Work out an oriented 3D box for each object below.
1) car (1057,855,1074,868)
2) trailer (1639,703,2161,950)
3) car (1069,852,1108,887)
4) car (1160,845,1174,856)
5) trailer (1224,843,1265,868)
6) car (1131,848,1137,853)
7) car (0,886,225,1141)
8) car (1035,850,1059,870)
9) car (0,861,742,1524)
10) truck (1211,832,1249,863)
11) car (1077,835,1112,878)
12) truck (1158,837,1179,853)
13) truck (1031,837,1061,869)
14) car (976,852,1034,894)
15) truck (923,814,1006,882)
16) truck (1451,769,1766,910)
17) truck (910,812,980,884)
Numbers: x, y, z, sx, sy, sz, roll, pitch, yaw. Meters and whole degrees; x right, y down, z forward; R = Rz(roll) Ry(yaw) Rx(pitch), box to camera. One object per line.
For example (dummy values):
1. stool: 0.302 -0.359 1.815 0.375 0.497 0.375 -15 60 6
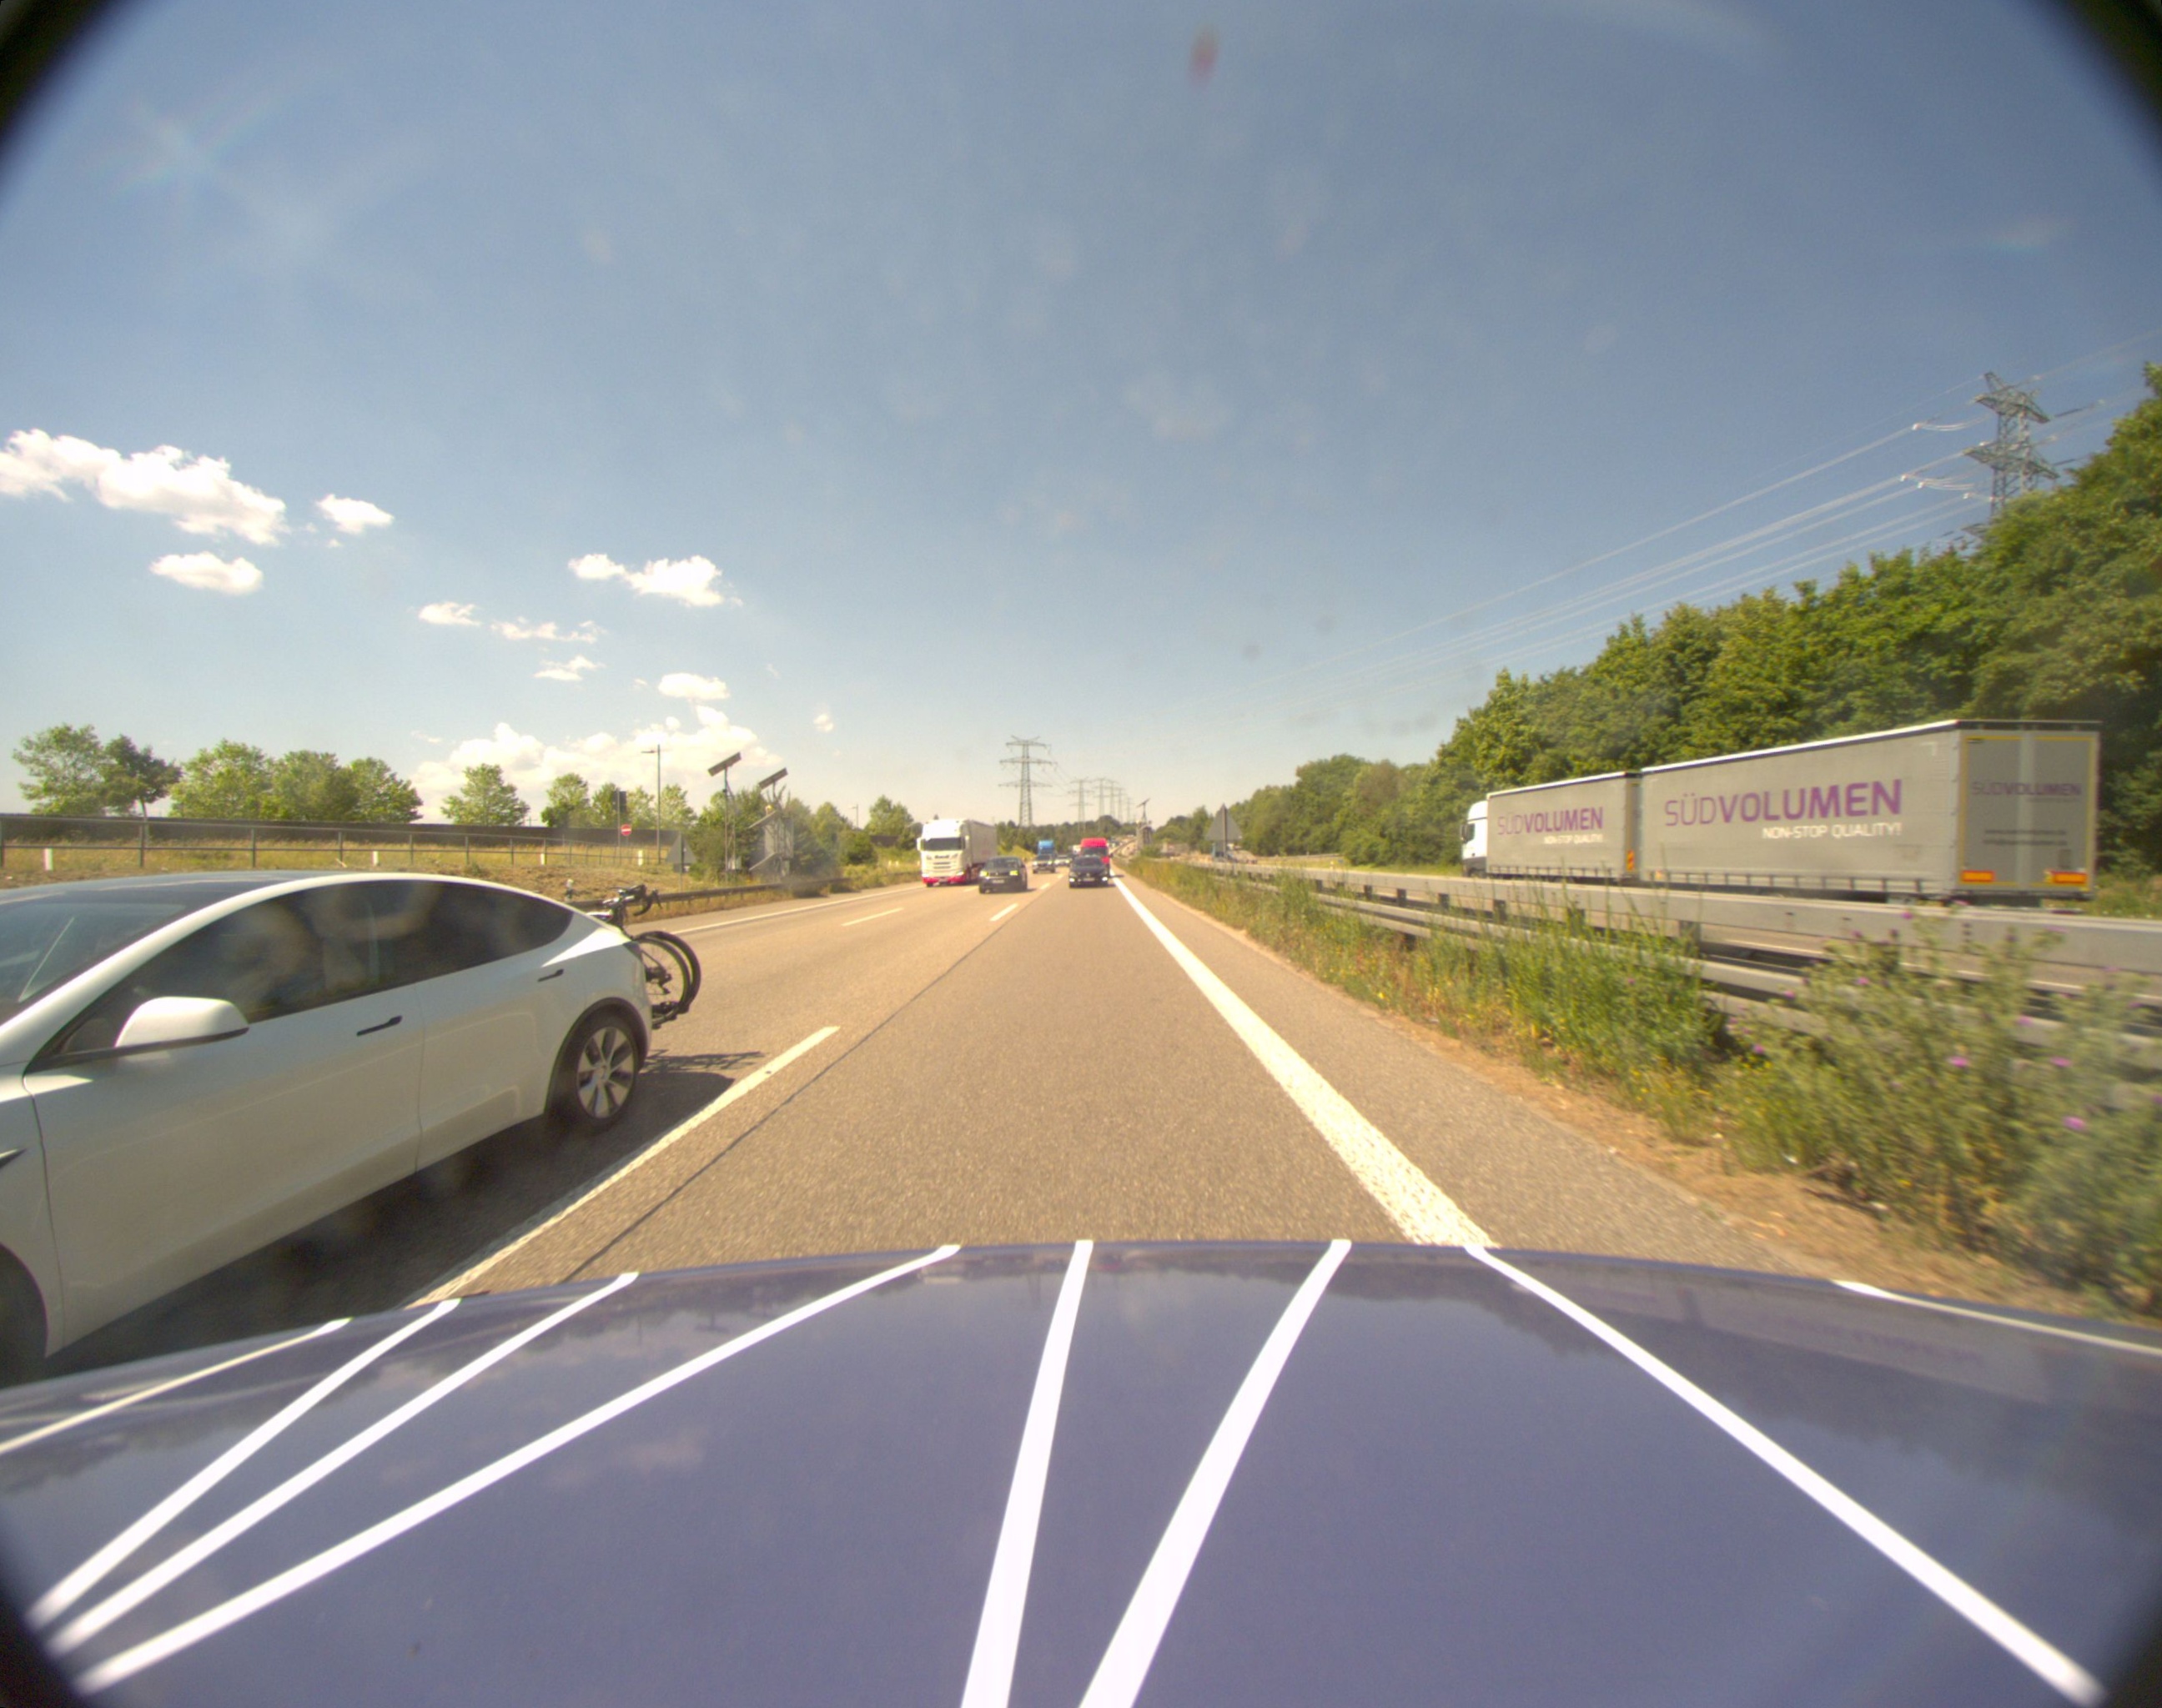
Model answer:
1. car: -1.981 0.910 96.475 1.878 1.591 3.688 0 1 3
2. trailer: 17.604 -0.529 17.540 3.462 4.255 7.968 -2 1 -1
3. car: 0.410 0.705 36.312 1.735 1.535 3.750 0 1 2
4. car: 13.792 -0.551 122.120 1.728 1.647 4.860 1 0 1
5. trailer: 18.993 0.077 88.929 3.153 2.624 8.531 -2 1 2
6. car: 17.043 -1.074 245.983 1.728 1.517 4.000 0 0 1
7. car: -8.148 1.140 4.058 1.873 1.627 4.585 -2 1 0
8. car: -3.014 0.492 67.249 1.749 1.691 4.088 0 1 3
9. car: -3.787 0.939 3.371 1.955 1.627 5.599 -2 1 0
10. truck: 19.181 -0.880 98.578 3.003 3.780 10.788 -1 1 1
11. car: 0.899 0.121 48.614 2.100 2.598 4.496 0 1 3
12. truck: 26.698 -2.634 231.898 3.005 4.314 14.541 -1 -2 -7
13. truck: -5.889 -0.255 131.577 3.797 4.971 14.924 -2 1 2
14. car: -3.327 0.796 34.001 1.955 1.637 4.047 -3 1 2
15. truck: -7.564 -0.404 51.515 3.076 3.885 12.504 -2 0 2
16. truck: 17.698 -0.431 27.163 3.462 3.971 11.122 0 0 -1
17. truck: -7.830 -0.340 44.269 3.076 3.885 3.847 -2 1 2
